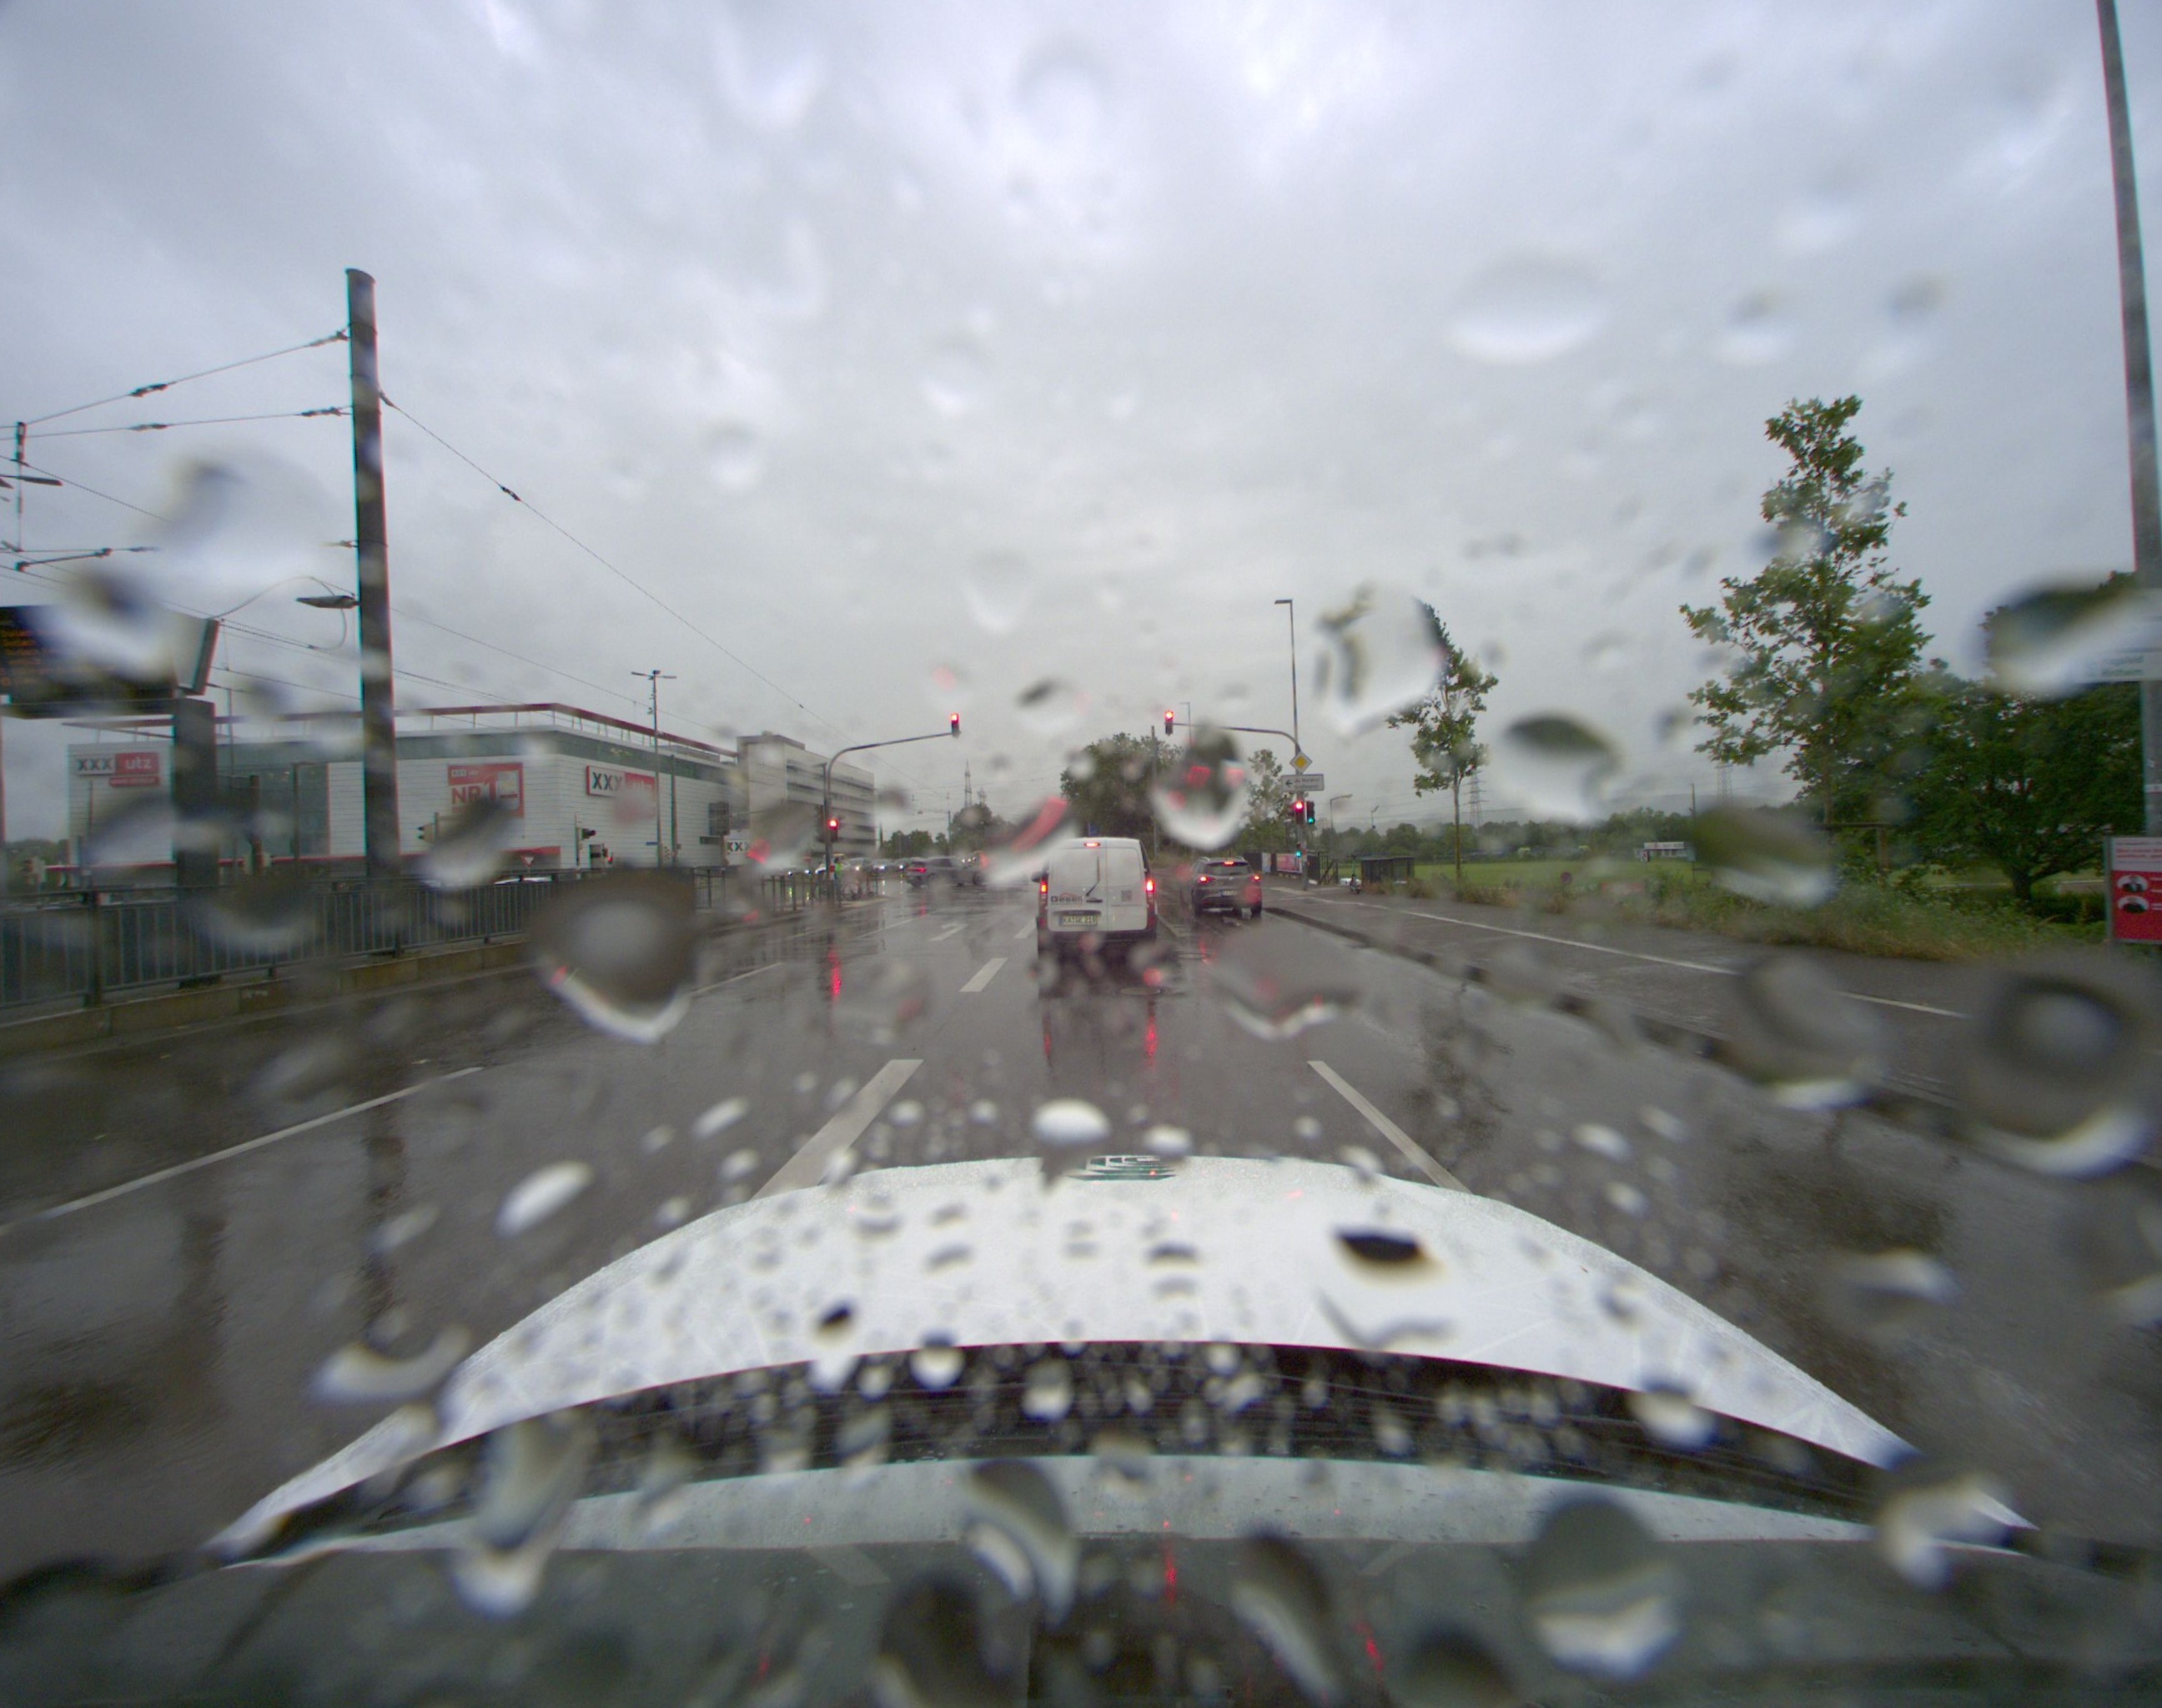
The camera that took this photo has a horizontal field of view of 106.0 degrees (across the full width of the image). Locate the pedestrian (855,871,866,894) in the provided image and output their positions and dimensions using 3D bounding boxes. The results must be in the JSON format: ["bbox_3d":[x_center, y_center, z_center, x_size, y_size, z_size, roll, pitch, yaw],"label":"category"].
[{"bbox_3d":[-8.639,1.115,31.919,0.314,0.897,0.380,1,0,-1],"label":"pedestrian"}]

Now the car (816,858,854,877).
[{"bbox_3d":[-19.248,1.104,63.854,1.704,1.426,3.810,1,-1,2],"label":"car"}]

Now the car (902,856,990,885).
[{"bbox_3d":[-7.025,0.868,42.558,4.218,1.451,1.698,1,-2,-38],"label":"car"}]

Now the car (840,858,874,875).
[{"bbox_3d":[-19.153,1.091,69.762,1.704,1.426,3.810,1,-1,2],"label":"car"}]

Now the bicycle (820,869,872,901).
[{"bbox_3d":[-8.587,1.117,29.753,1.768,1.137,0.514,0,-1,-41],"label":"bicycle"}]

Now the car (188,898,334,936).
[{"bbox_3d":[-35.772,2.745,35.612,4.482,1.502,1.713,1,-1,-2],"label":"car"}]

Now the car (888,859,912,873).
[{"bbox_3d":[-18.696,1.249,84.076,1.554,1.426,3.570,1,-1,2],"label":"car"}]

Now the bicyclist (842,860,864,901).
[{"bbox_3d":[-8.386,0.951,29.914,0.608,1.491,0.593,0,-1,-39],"label":"bicyclist"}]

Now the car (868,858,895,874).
[{"bbox_3d":[-18.868,1.128,76.995,1.554,1.426,3.570,1,-1,2],"label":"car"}]

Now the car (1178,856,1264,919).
[{"bbox_3d":[3.629,0.830,21.652,1.678,1.508,3.921,0,-1,1],"label":"car"}]

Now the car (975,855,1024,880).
[{"bbox_3d":[-5.504,0.958,55.608,1.933,1.662,4.481,0,-2,14],"label":"car"}]

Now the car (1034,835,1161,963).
[{"bbox_3d":[0.171,0.612,13.423,1.749,1.750,4.166,-1,0,-2],"label":"car"}]

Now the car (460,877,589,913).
[{"bbox_3d":[-24.527,1.784,36.036,4.257,1.502,1.816,1,-1,-9],"label":"car"}]

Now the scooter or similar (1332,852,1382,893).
[{"bbox_3d":[8.710,0.547,25.816,0.687,1.211,3.022,-2,0,3],"label":"scooter or similar"}]
